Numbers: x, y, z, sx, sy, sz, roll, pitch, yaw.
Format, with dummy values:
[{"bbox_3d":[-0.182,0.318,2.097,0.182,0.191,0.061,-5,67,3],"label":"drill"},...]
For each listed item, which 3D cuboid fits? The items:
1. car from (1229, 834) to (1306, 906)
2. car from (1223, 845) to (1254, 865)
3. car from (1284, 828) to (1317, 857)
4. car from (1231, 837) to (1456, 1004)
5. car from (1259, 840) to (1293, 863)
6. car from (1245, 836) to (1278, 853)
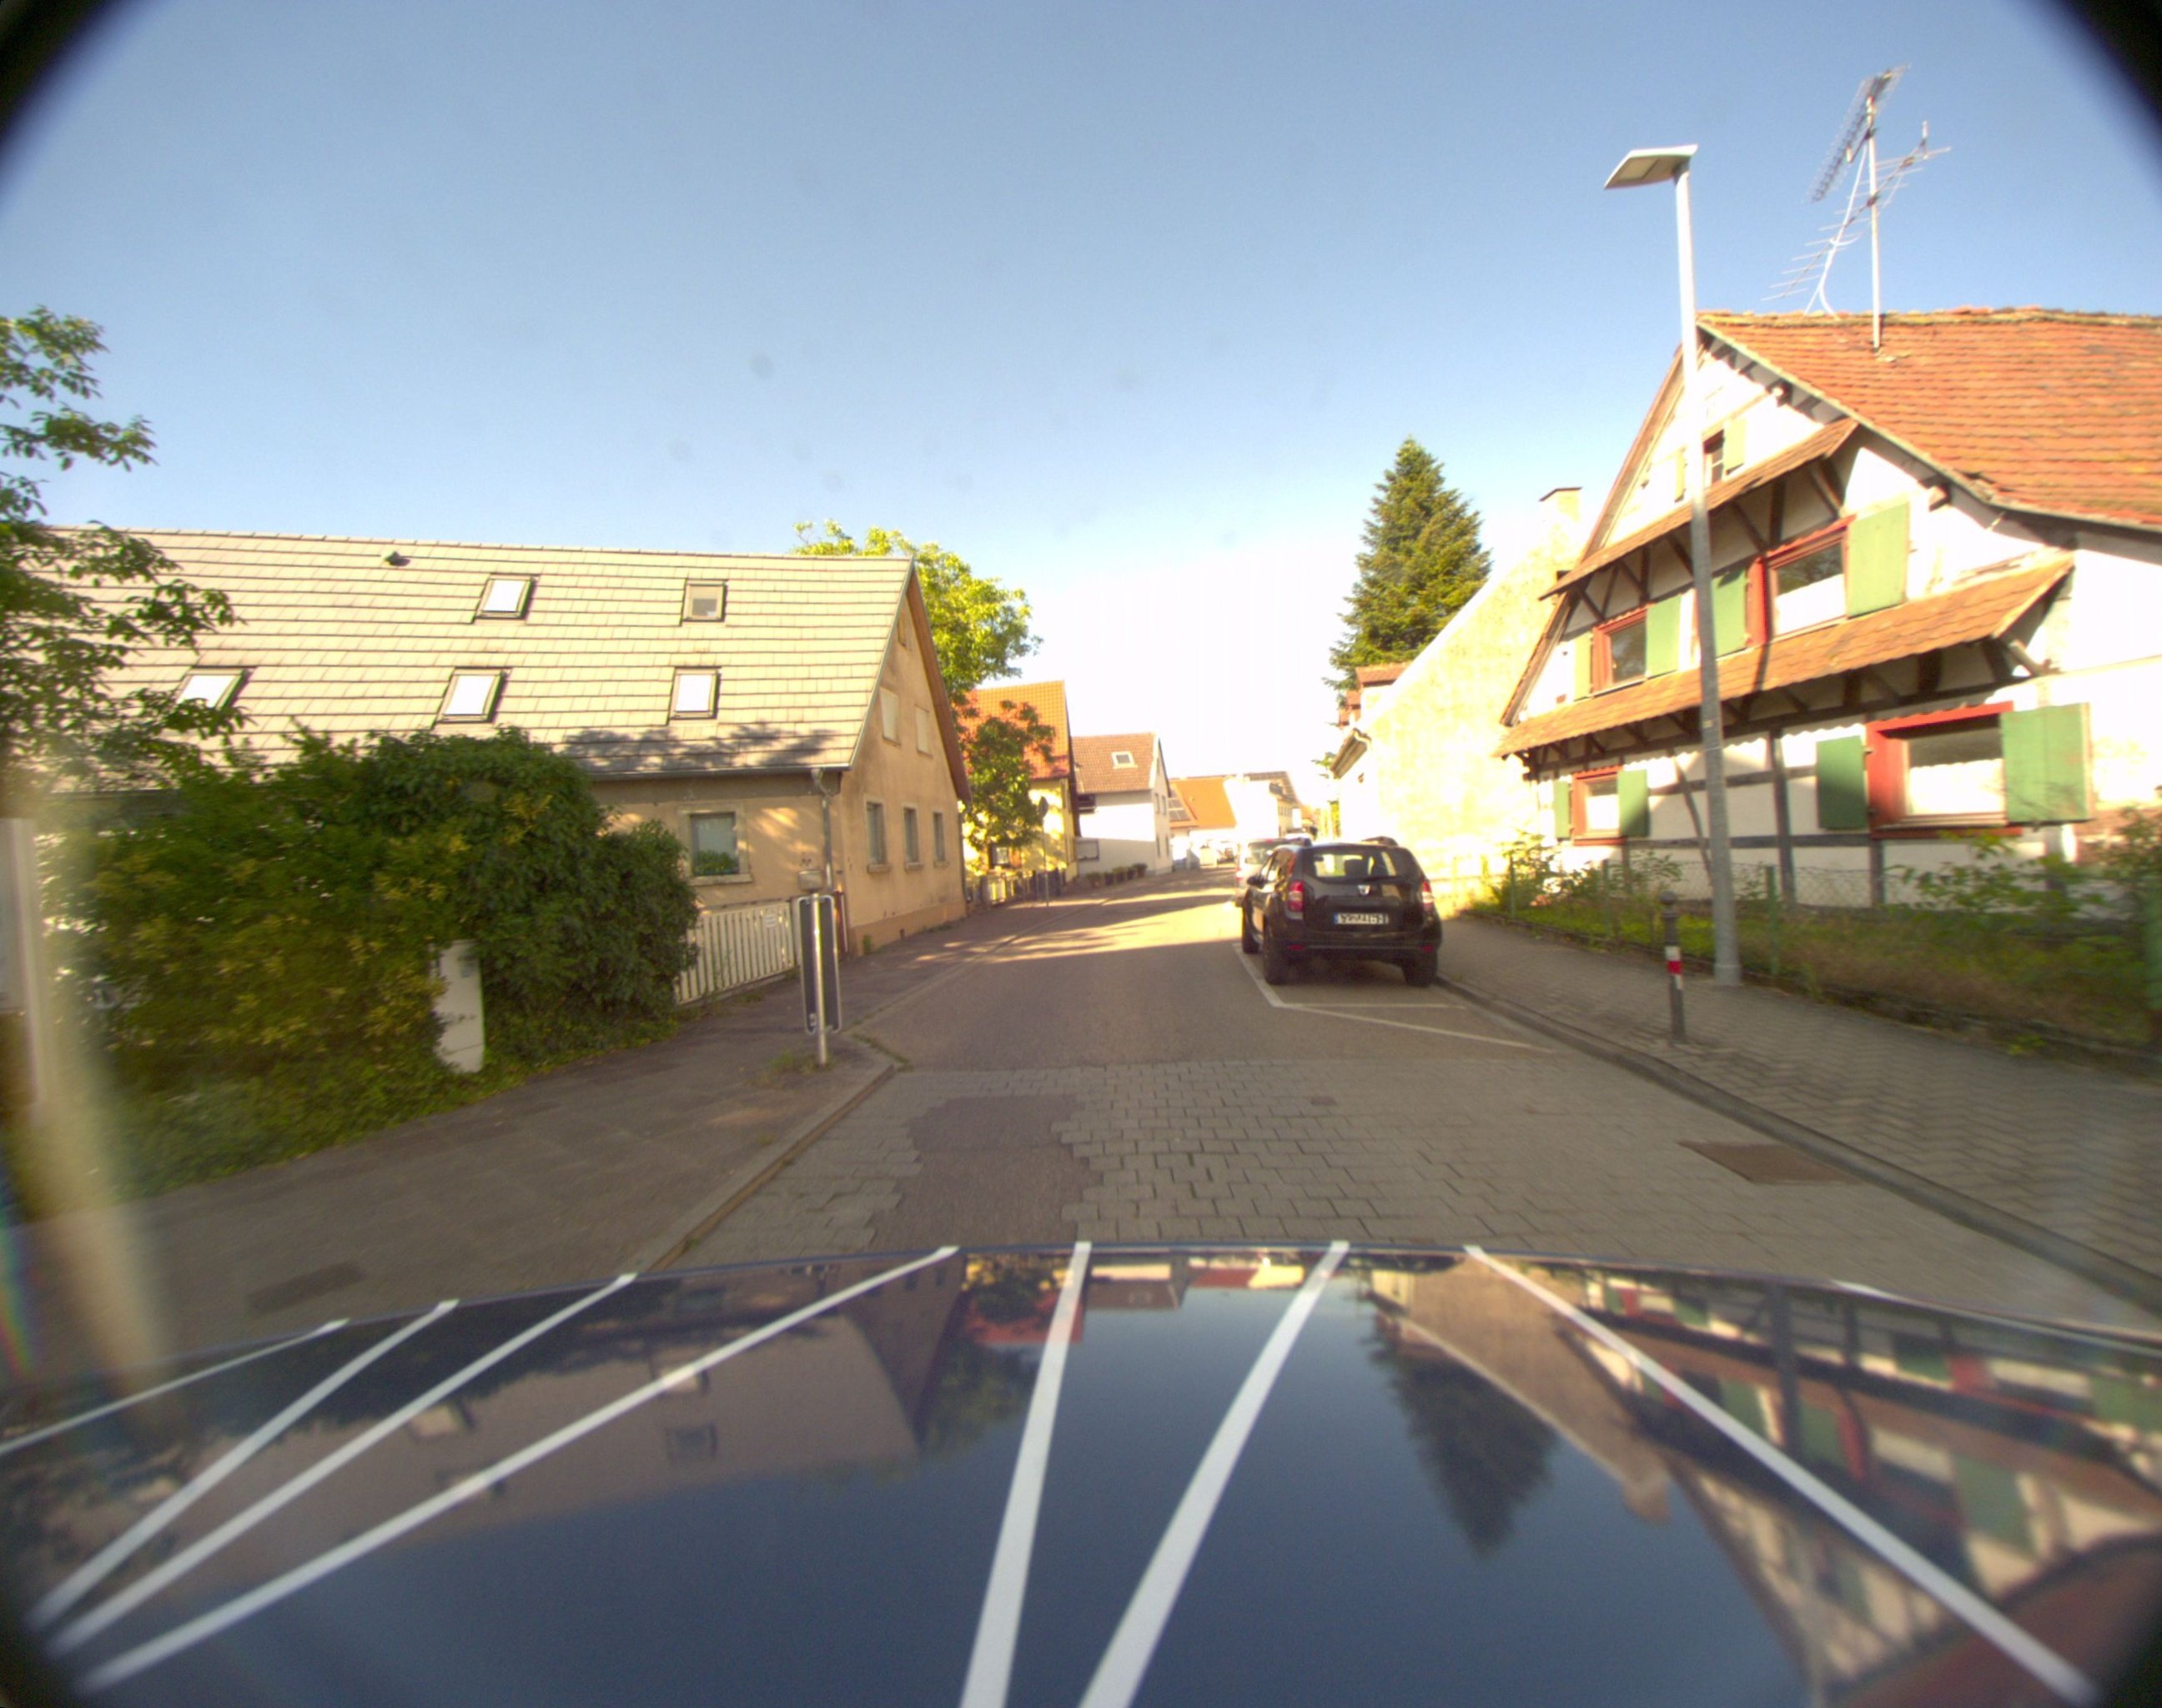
[{"bbox_3d":[5.084,0.387,20.893,1.835,1.779,4.357,0,0,13],"label":"car"},{"bbox_3d":[12.850,0.051,61.832,1.805,1.469,4.349,-3,0,20],"label":"car"},{"bbox_3d":[18.683,-0.982,64.427,2.057,2.233,4.866,-2,0,23],"label":"car"},{"bbox_3d":[3.053,0.641,9.803,1.836,1.661,4.354,-1,1,6],"label":"car"},{"bbox_3d":[15.064,-0.210,58.497,1.890,1.581,4.006,-2,0,23],"label":"car"},{"bbox_3d":[23.517,-1.281,98.809,3.992,2.002,1.844,-3,0,17],"label":"car"}]
